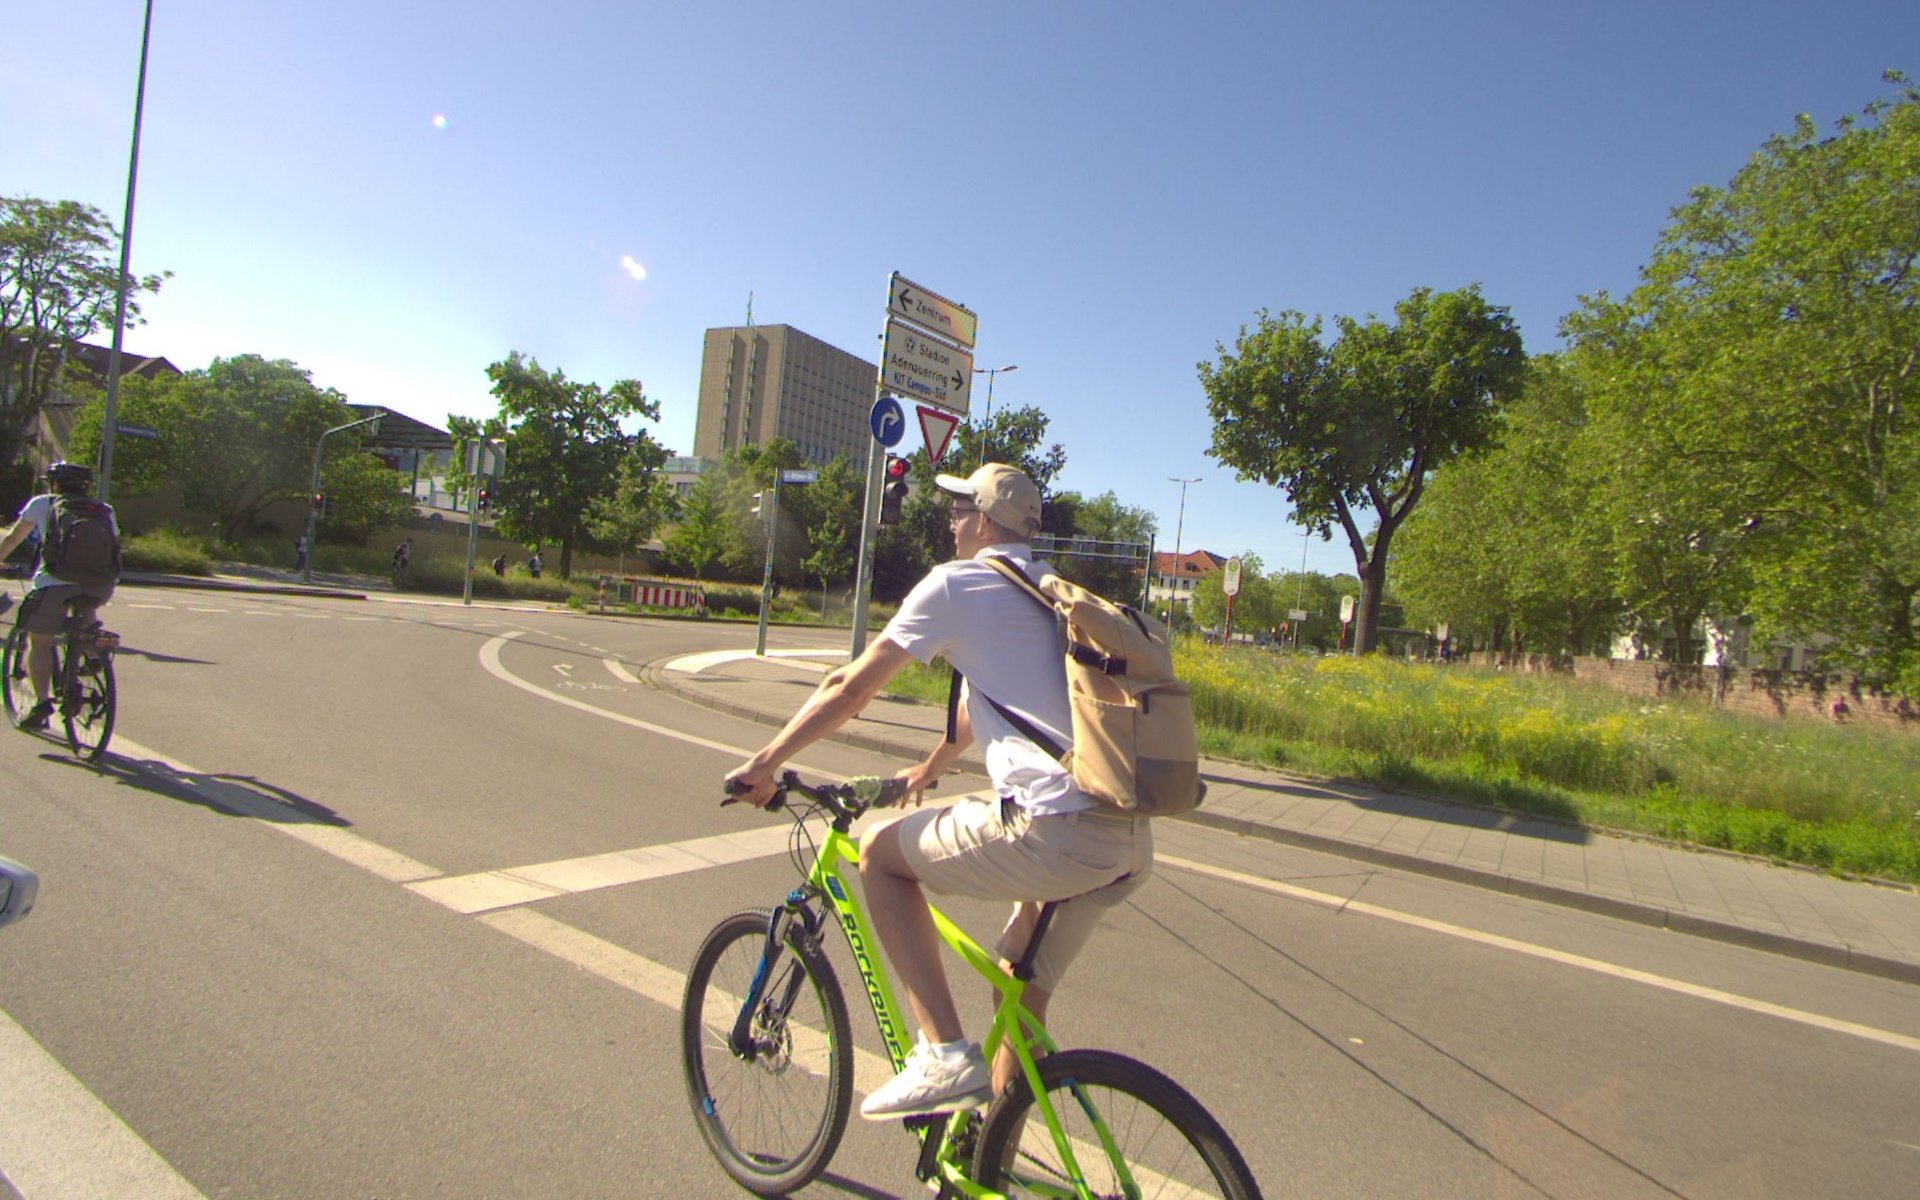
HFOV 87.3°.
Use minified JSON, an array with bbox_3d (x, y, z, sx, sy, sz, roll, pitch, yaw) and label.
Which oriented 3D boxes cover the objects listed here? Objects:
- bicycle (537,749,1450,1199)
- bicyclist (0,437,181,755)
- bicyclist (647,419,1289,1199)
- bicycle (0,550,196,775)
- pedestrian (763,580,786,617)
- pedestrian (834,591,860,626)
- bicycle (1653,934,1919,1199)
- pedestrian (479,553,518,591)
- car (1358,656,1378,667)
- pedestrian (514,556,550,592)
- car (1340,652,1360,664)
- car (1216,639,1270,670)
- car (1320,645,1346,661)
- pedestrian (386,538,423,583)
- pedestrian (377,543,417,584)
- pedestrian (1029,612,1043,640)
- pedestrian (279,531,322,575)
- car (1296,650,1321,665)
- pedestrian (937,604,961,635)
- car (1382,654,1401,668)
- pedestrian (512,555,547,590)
[{"bbox_3d":[-0.001,1.024,2.227,1.813,1.063,0.672,6,-1,31],"label":"bicycle"},{"bbox_3d":[-5.546,-0.031,6.226,0.924,1.806,0.678,6,-1,30],"label":"bicyclist"},{"bbox_3d":[0.026,0.474,2.260,1.063,1.601,0.675,7,-1,31],"label":"bicyclist"},{"bbox_3d":[-5.611,0.332,6.282,1.795,1.152,0.616,7,0,30],"label":"bicycle"},{"bbox_3d":[-11.228,-0.073,60.898,0.800,2.106,0.896,7,1,35],"label":"pedestrian"},{"bbox_3d":[-7.234,0.528,64.391,0.966,2.106,1.186,7,1,35],"label":"pedestrian"},{"bbox_3d":[1.984,1.252,1.186,1.871,1.064,0.748,6,1,30],"label":"bicycle"},{"bbox_3d":[-20.805,-1.264,45.348,0.927,1.540,1.145,7,1,38],"label":"pedestrian"},{"bbox_3d":[60.420,9.084,148.870,1.967,1.378,4.001,6,0,31],"label":"car"},{"bbox_3d":[-20.224,-1.244,47.539,0.975,1.540,1.129,7,1,35],"label":"pedestrian"},{"bbox_3d":[61.027,9.045,157.407,1.893,1.625,4.070,7,0,36],"label":"car"},{"bbox_3d":[16.955,3.262,60.148,1.715,1.535,3.987,7,0,36],"label":"car"},{"bbox_3d":[47.795,6.789,128.795,1.968,1.625,4.127,7,0,35],"label":"car"},{"bbox_3d":[-23.652,-1.671,42.848,0.912,1.754,0.962,7,1,38],"label":"pedestrian"},{"bbox_3d":[-23.280,-1.499,41.607,0.865,1.540,1.074,7,1,36],"label":"pedestrian"},{"bbox_3d":[6.367,2.190,84.221,0.633,2.194,0.912,7,1,35],"label":"pedestrian"},{"bbox_3d":[-25.839,-1.833,39.418,0.917,1.540,1.083,7,1,41],"label":"pedestrian"},{"bbox_3d":[45.215,7.415,130.559,1.967,1.625,4.508,7,0,31],"label":"car"},{"bbox_3d":[-0.833,1.476,75.947,1.065,2.106,1.231,7,1,35],"label":"pedestrian"},{"bbox_3d":[72.883,10.298,169.852,1.968,2.062,4.834,7,0,34],"label":"car"},{"bbox_3d":[-20.584,-1.304,48.098,0.865,1.540,1.144,7,1,35],"label":"pedestrian"}]
